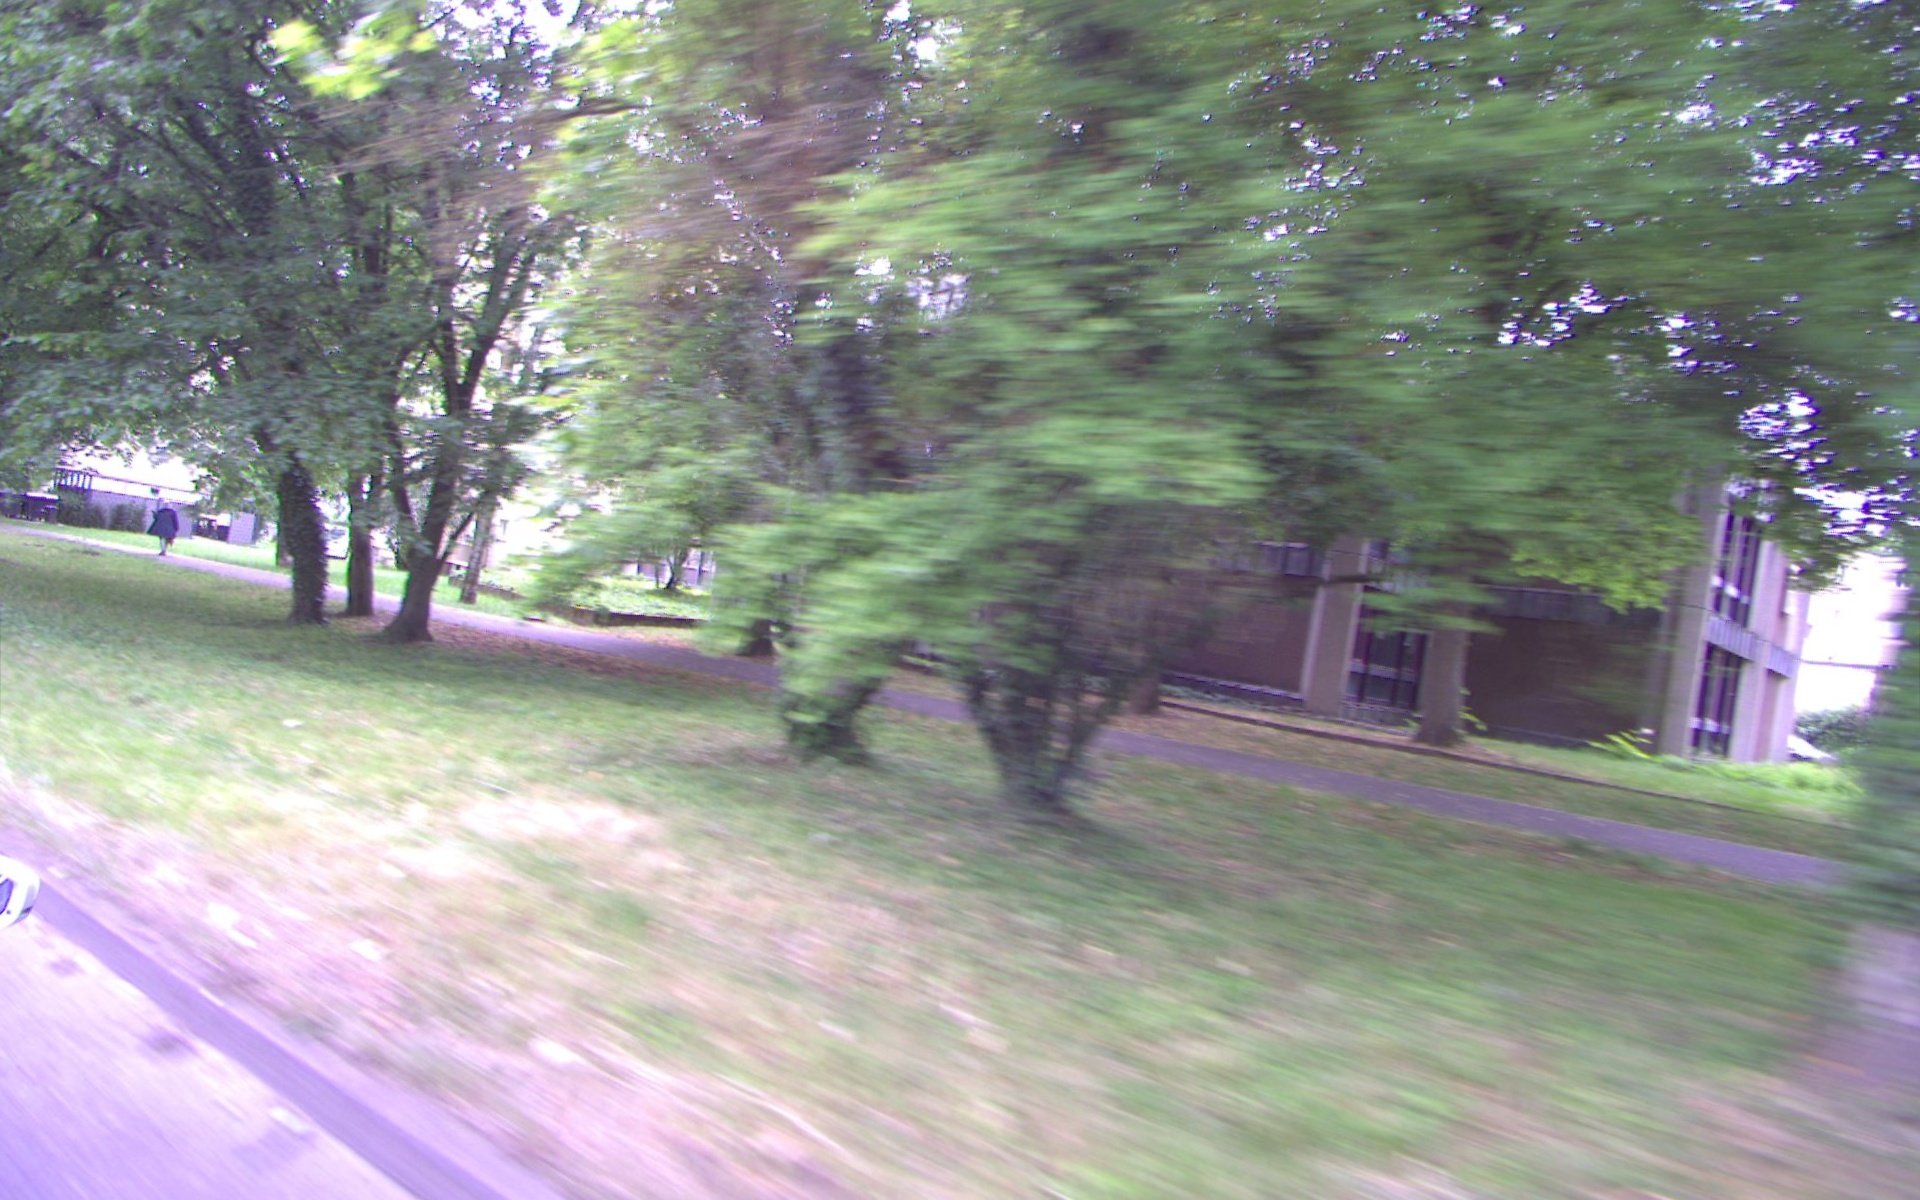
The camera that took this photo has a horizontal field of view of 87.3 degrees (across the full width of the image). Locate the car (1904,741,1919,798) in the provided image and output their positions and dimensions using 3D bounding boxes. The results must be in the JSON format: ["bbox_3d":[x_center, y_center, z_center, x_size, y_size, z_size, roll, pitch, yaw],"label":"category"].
[{"bbox_3d":[30.605,5.365,29.368,1.773,1.694,3.987,9,-1,-16],"label":"car"}]

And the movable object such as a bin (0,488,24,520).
[{"bbox_3d":[-48.585,-4.924,50.920,1.292,1.520,1.328,7,0,31],"label":"movable object such as a bin"}]

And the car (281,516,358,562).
[{"bbox_3d":[-33.726,-3.226,52.920,4.898,1.866,2.083,8,1,42],"label":"car"}]

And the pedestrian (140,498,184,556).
[{"bbox_3d":[-25.736,-2.347,32.447,0.801,1.707,0.768,7,1,32],"label":"pedestrian"}]

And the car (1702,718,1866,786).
[{"bbox_3d":[28.623,5.251,35.114,1.773,1.528,3.987,9,-1,-16],"label":"car"}]

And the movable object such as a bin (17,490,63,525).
[{"bbox_3d":[-47.610,-4.794,52.056,1.292,1.520,1.328,7,0,31],"label":"movable object such as a bin"}]
